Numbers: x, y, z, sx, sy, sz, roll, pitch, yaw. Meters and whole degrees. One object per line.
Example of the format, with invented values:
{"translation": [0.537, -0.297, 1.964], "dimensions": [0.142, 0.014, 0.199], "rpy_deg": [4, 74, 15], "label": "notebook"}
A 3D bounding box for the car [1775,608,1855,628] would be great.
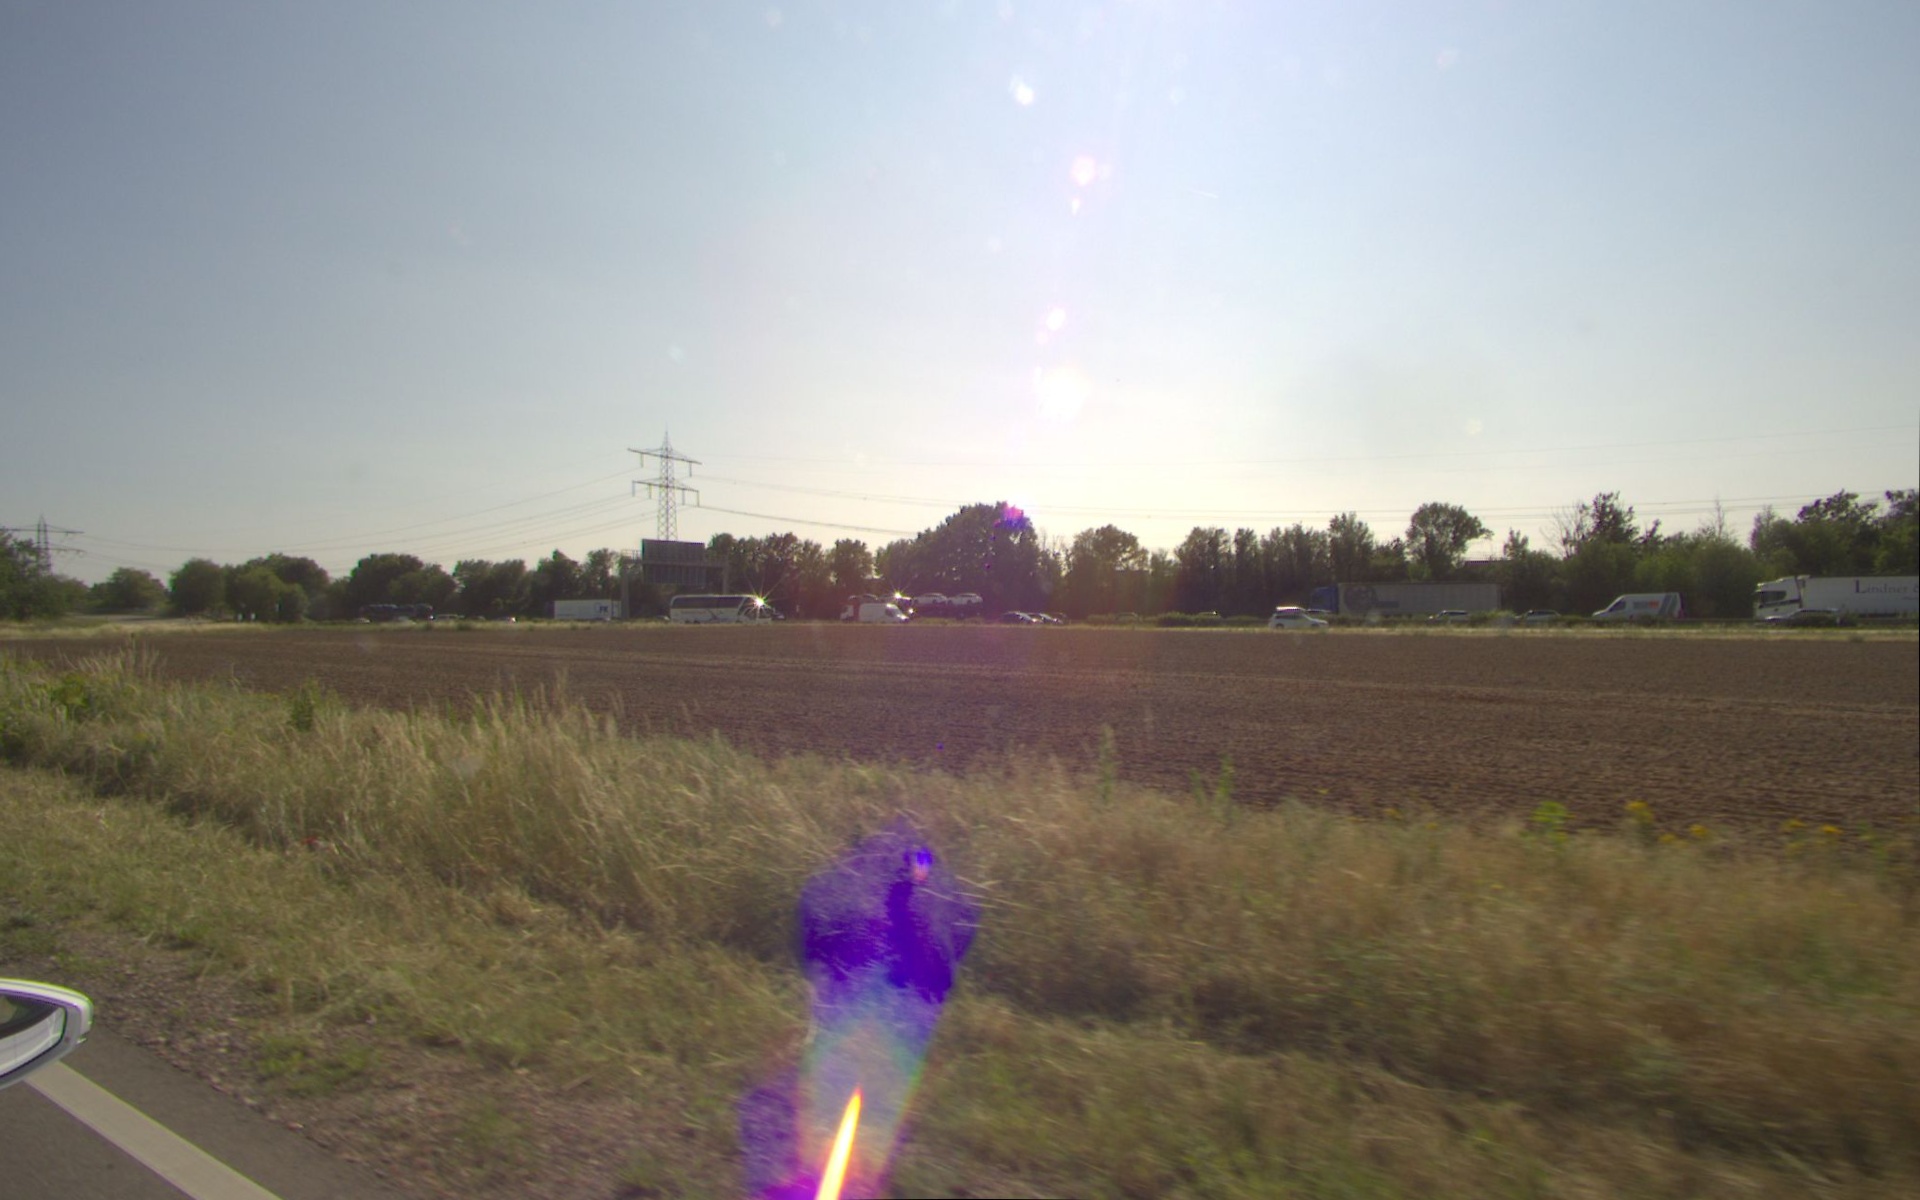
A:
{"translation": [62.361, 1.331, 73.096], "dimensions": [4.186, 1.403, 1.847], "rpy_deg": [0, -1, 32], "label": "car"}

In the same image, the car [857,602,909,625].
{"translation": [-8.202, 1.449, 107.012], "dimensions": [5.443, 2.402, 1.990], "rpy_deg": [-1, -2, 33], "label": "car"}

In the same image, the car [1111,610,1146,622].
{"translation": [16.911, 1.575, 100.399], "dimensions": [3.135, 1.166, 1.392], "rpy_deg": [0, -1, 32], "label": "car"}

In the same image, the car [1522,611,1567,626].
{"translation": [47.392, 1.510, 81.232], "dimensions": [3.135, 1.166, 1.392], "rpy_deg": [0, -1, 32], "label": "car"}

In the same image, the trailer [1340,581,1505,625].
{"translation": [42.287, 0.242, 92.027], "dimensions": [13.439, 3.783, 3.064], "rpy_deg": [1, 0, 34], "label": "trailer"}

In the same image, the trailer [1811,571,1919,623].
{"translation": [71.398, -0.202, 73.543], "dimensions": [13.180, 3.782, 3.065], "rpy_deg": [-1, -1, 34], "label": "trailer"}

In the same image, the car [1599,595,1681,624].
{"translation": [52.985, 0.726, 78.163], "dimensions": [5.162, 2.228, 1.902], "rpy_deg": [0, -1, 32], "label": "car"}

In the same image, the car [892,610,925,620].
{"translation": [-5.944, 1.718, 115.157], "dimensions": [3.528, 1.166, 1.393], "rpy_deg": [0, -1, 30], "label": "car"}

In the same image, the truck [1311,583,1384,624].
{"translation": [36.966, 0.306, 95.604], "dimensions": [6.002, 3.783, 3.064], "rpy_deg": [1, 0, 34], "label": "truck"}

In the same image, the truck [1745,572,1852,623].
{"translation": [64.998, -0.124, 77.812], "dimensions": [6.032, 3.782, 3.065], "rpy_deg": [0, -1, 34], "label": "truck"}

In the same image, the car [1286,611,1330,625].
{"translation": [31.569, 1.647, 90.858], "dimensions": [3.531, 1.166, 1.392], "rpy_deg": [0, -1, 33], "label": "car"}

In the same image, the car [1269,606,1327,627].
{"translation": [27.128, 1.355, 80.336], "dimensions": [4.136, 1.563, 1.700], "rpy_deg": [1, -1, 33], "label": "car"}

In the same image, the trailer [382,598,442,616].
{"translation": [-98.706, 1.251, 180.220], "dimensions": [13.256, 3.310, 3.279], "rpy_deg": [0, 0, 32], "label": "trailer"}

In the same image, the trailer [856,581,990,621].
{"translation": [-4.677, 0.206, 122.415], "dimensions": [17.304, 4.512, 3.415], "rpy_deg": [-1, 0, 31], "label": "trailer"}

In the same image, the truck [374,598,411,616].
{"translation": [-104.114, 1.255, 183.554], "dimensions": [6.334, 3.310, 3.279], "rpy_deg": [0, 0, 31], "label": "truck"}

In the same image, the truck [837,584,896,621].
{"translation": [-11.805, 0.311, 126.651], "dimensions": [6.607, 4.512, 3.415], "rpy_deg": [-1, 0, 30], "label": "truck"}

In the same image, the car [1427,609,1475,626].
{"translation": [41.806, 1.484, 85.224], "dimensions": [3.551, 1.403, 1.489], "rpy_deg": [0, -1, 32], "label": "car"}

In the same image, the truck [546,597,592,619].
{"translation": [-61.908, 1.253, 158.400], "dimensions": [6.877, 3.310, 3.278], "rpy_deg": [-1, 0, 31], "label": "truck"}

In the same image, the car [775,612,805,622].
{"translation": [-21.172, 2.106, 124.648], "dimensions": [3.528, 1.166, 1.393], "rpy_deg": [0, -1, 30], "label": "car"}

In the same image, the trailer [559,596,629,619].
{"translation": [-56.916, 1.181, 155.337], "dimensions": [12.275, 3.310, 3.278], "rpy_deg": [-1, 0, 32], "label": "trailer"}

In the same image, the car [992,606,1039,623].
{"translation": [5.162, 1.380, 93.462], "dimensions": [4.151, 1.492, 1.700], "rpy_deg": [-1, -2, 33], "label": "car"}

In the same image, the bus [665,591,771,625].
{"translation": [-28.116, 0.905, 115.792], "dimensions": [14.329, 3.854, 2.459], "rpy_deg": [0, 0, 30], "label": "bus"}

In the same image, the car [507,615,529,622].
{"translation": [-74.944, 3.101, 169.682], "dimensions": [3.678, 1.162, 1.664], "rpy_deg": [-1, -2, 33], "label": "car"}
